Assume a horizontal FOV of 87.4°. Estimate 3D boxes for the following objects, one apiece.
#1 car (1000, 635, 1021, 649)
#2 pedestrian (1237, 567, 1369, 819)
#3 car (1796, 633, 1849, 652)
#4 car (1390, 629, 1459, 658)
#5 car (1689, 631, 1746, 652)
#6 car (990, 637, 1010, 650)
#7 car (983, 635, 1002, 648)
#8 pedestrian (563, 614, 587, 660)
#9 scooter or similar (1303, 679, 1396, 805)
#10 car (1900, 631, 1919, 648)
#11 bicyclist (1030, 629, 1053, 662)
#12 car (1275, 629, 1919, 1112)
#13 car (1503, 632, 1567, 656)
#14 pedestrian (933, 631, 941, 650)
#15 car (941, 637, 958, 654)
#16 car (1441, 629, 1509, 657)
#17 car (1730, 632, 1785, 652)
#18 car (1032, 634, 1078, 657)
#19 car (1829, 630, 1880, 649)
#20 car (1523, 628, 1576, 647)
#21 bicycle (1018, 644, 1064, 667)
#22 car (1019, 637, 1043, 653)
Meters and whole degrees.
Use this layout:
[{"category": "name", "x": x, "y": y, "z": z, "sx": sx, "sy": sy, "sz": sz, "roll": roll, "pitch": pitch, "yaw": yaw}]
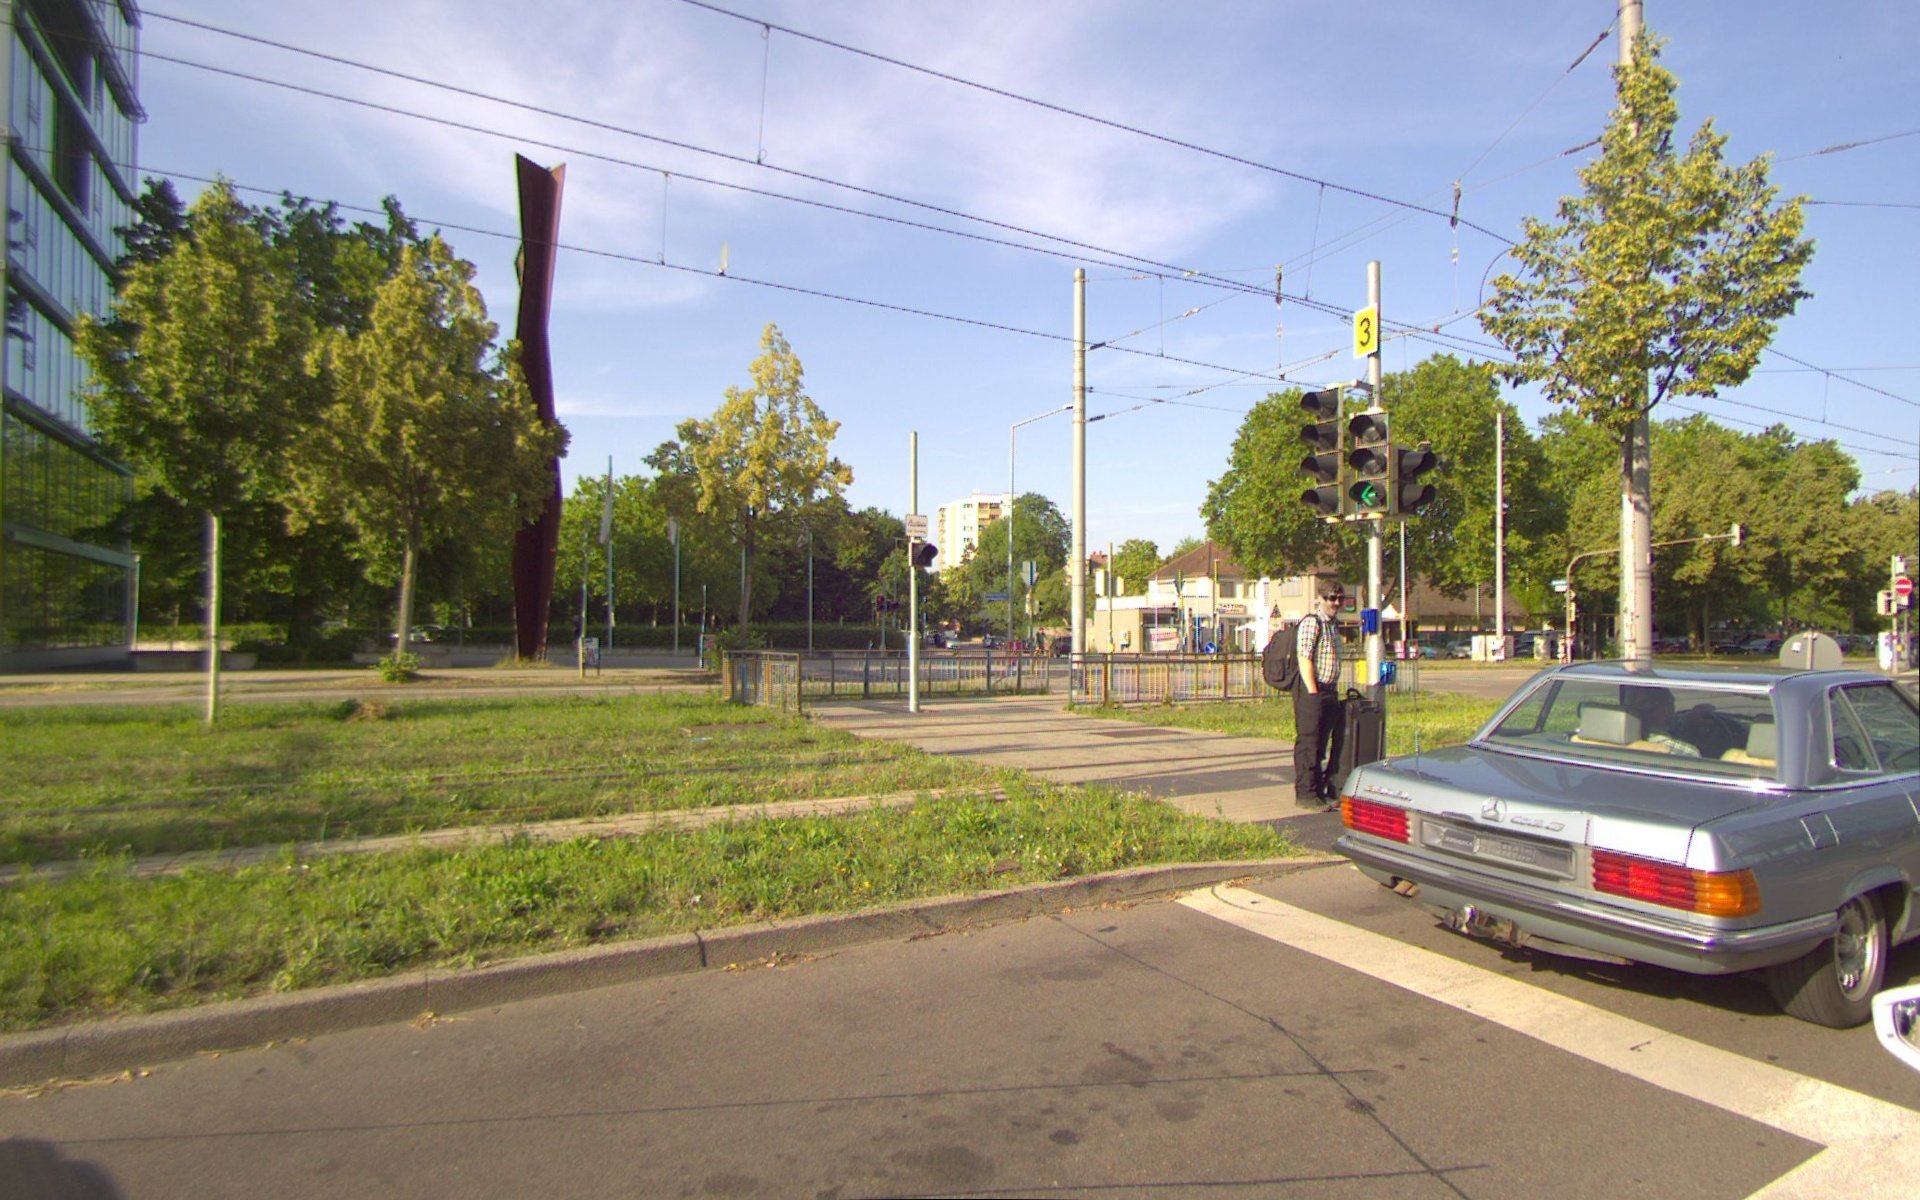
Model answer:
[{"category": "car", "x": 5.578, "y": 4.711, "z": 111.827, "sx": 1.667, "sy": 1.491, "sz": 3.941, "roll": 0, "pitch": -2, "yaw": -8}, {"category": "pedestrian", "x": 2.623, "y": 0.673, "z": 7.707, "sx": 0.628, "sy": 1.816, "sz": 0.696, "roll": 1, "pitch": 0, "yaw": -29}, {"category": "car", "x": 72.116, "y": 3.560, "z": 83.984, "sx": 3.945, "sy": 1.580, "sz": 1.876, "roll": 1, "pitch": -2, "yaw": -25}, {"category": "car", "x": 29.209, "y": 2.721, "z": 63.134, "sx": 3.945, "sy": 1.773, "sz": 1.876, "roll": 1, "pitch": -2, "yaw": -25}, {"category": "car", "x": 58.619, "y": 3.179, "z": 77.729, "sx": 3.945, "sy": 1.580, "sz": 1.876, "roll": 1, "pitch": -2, "yaw": -25}, {"category": "car", "x": 4.664, "y": 5.117, "z": 117.655, "sx": 1.667, "sy": 1.491, "sz": 3.941, "roll": 0, "pitch": -2, "yaw": -8}, {"category": "car", "x": 3.957, "y": 5.076, "z": 123.444, "sx": 1.667, "sy": 1.491, "sz": 3.941, "roll": 0, "pitch": -2, "yaw": -8}, {"category": "pedestrian", "x": -18.108, "y": 1.750, "z": 47.272, "sx": 0.864, "sy": 2.135, "sz": 0.724, "roll": -1, "pitch": -3, "yaw": -1}, {"category": "scooter or similar", "x": 3.083, "y": 1.106, "z": 7.970, "sx": 0.424, "sy": 0.919, "sz": 0.546, "roll": 1, "pitch": -1, "yaw": -29}, {"category": "car", "x": 87.800, "y": 3.585, "z": 91.471, "sx": 3.945, "sy": 1.580, "sz": 1.876, "roll": 1, "pitch": -2, "yaw": -25}, {"category": "bicyclist", "x": 3.862, "y": 2.153, "z": 47.733, "sx": 0.836, "sy": 1.512, "sz": 0.697, "roll": -1, "pitch": -2, "yaw": 38}, {"category": "car", "x": 3.706, "y": 0.848, "z": 4.839, "sx": 4.349, "sy": 1.348, "sz": 1.755, "roll": 1, "pitch": 0, "yaw": -31}, {"category": "car", "x": 38.820, "y": 2.936, "z": 67.824, "sx": 3.945, "sy": 1.580, "sz": 1.876, "roll": 1, "pitch": -2, "yaw": -25}, {"category": "pedestrian", "x": -2.039, "y": 3.625, "z": 89.194, "sx": 0.654, "sy": 1.654, "sz": 0.664, "roll": 0, "pitch": -1, "yaw": -2}, {"category": "car", "x": -1.216, "y": 5.140, "z": 113.551, "sx": 1.961, "sy": 1.806, "sz": 4.000, "roll": 0, "pitch": -2, "yaw": -1}, {"category": "car", "x": 33.433, "y": 2.773, "z": 65.210, "sx": 3.945, "sy": 1.773, "sz": 1.876, "roll": 1, "pitch": -2, "yaw": -25}, {"category": "car", "x": 63.603, "y": 3.326, "z": 80.087, "sx": 3.945, "sy": 1.580, "sz": 1.876, "roll": 1, "pitch": -2, "yaw": -25}, {"category": "car", "x": 7.452, "y": 3.565, "z": 79.242, "sx": 1.971, "sy": 1.750, "sz": 3.979, "roll": 1, "pitch": -2, "yaw": -22}, {"category": "car", "x": 76.687, "y": 3.358, "z": 86.093, "sx": 3.945, "sy": 1.580, "sz": 1.876, "roll": 1, "pitch": -2, "yaw": -25}, {"category": "car", "x": 47.871, "y": 3.049, "z": 81.576, "sx": 3.945, "sy": 1.580, "sz": 1.876, "roll": 1, "pitch": -2, "yaw": -25}, {"category": "bicycle", "x": 3.847, "y": 2.633, "z": 47.730, "sx": 2.168, "sy": 1.055, "sz": 0.697, "roll": -1, "pitch": -2, "yaw": 38}, {"category": "car", "x": 7.051, "y": 4.462, "z": 100.314, "sx": 1.667, "sy": 1.491, "sz": 3.941, "roll": 0, "pitch": -2, "yaw": -8}]
